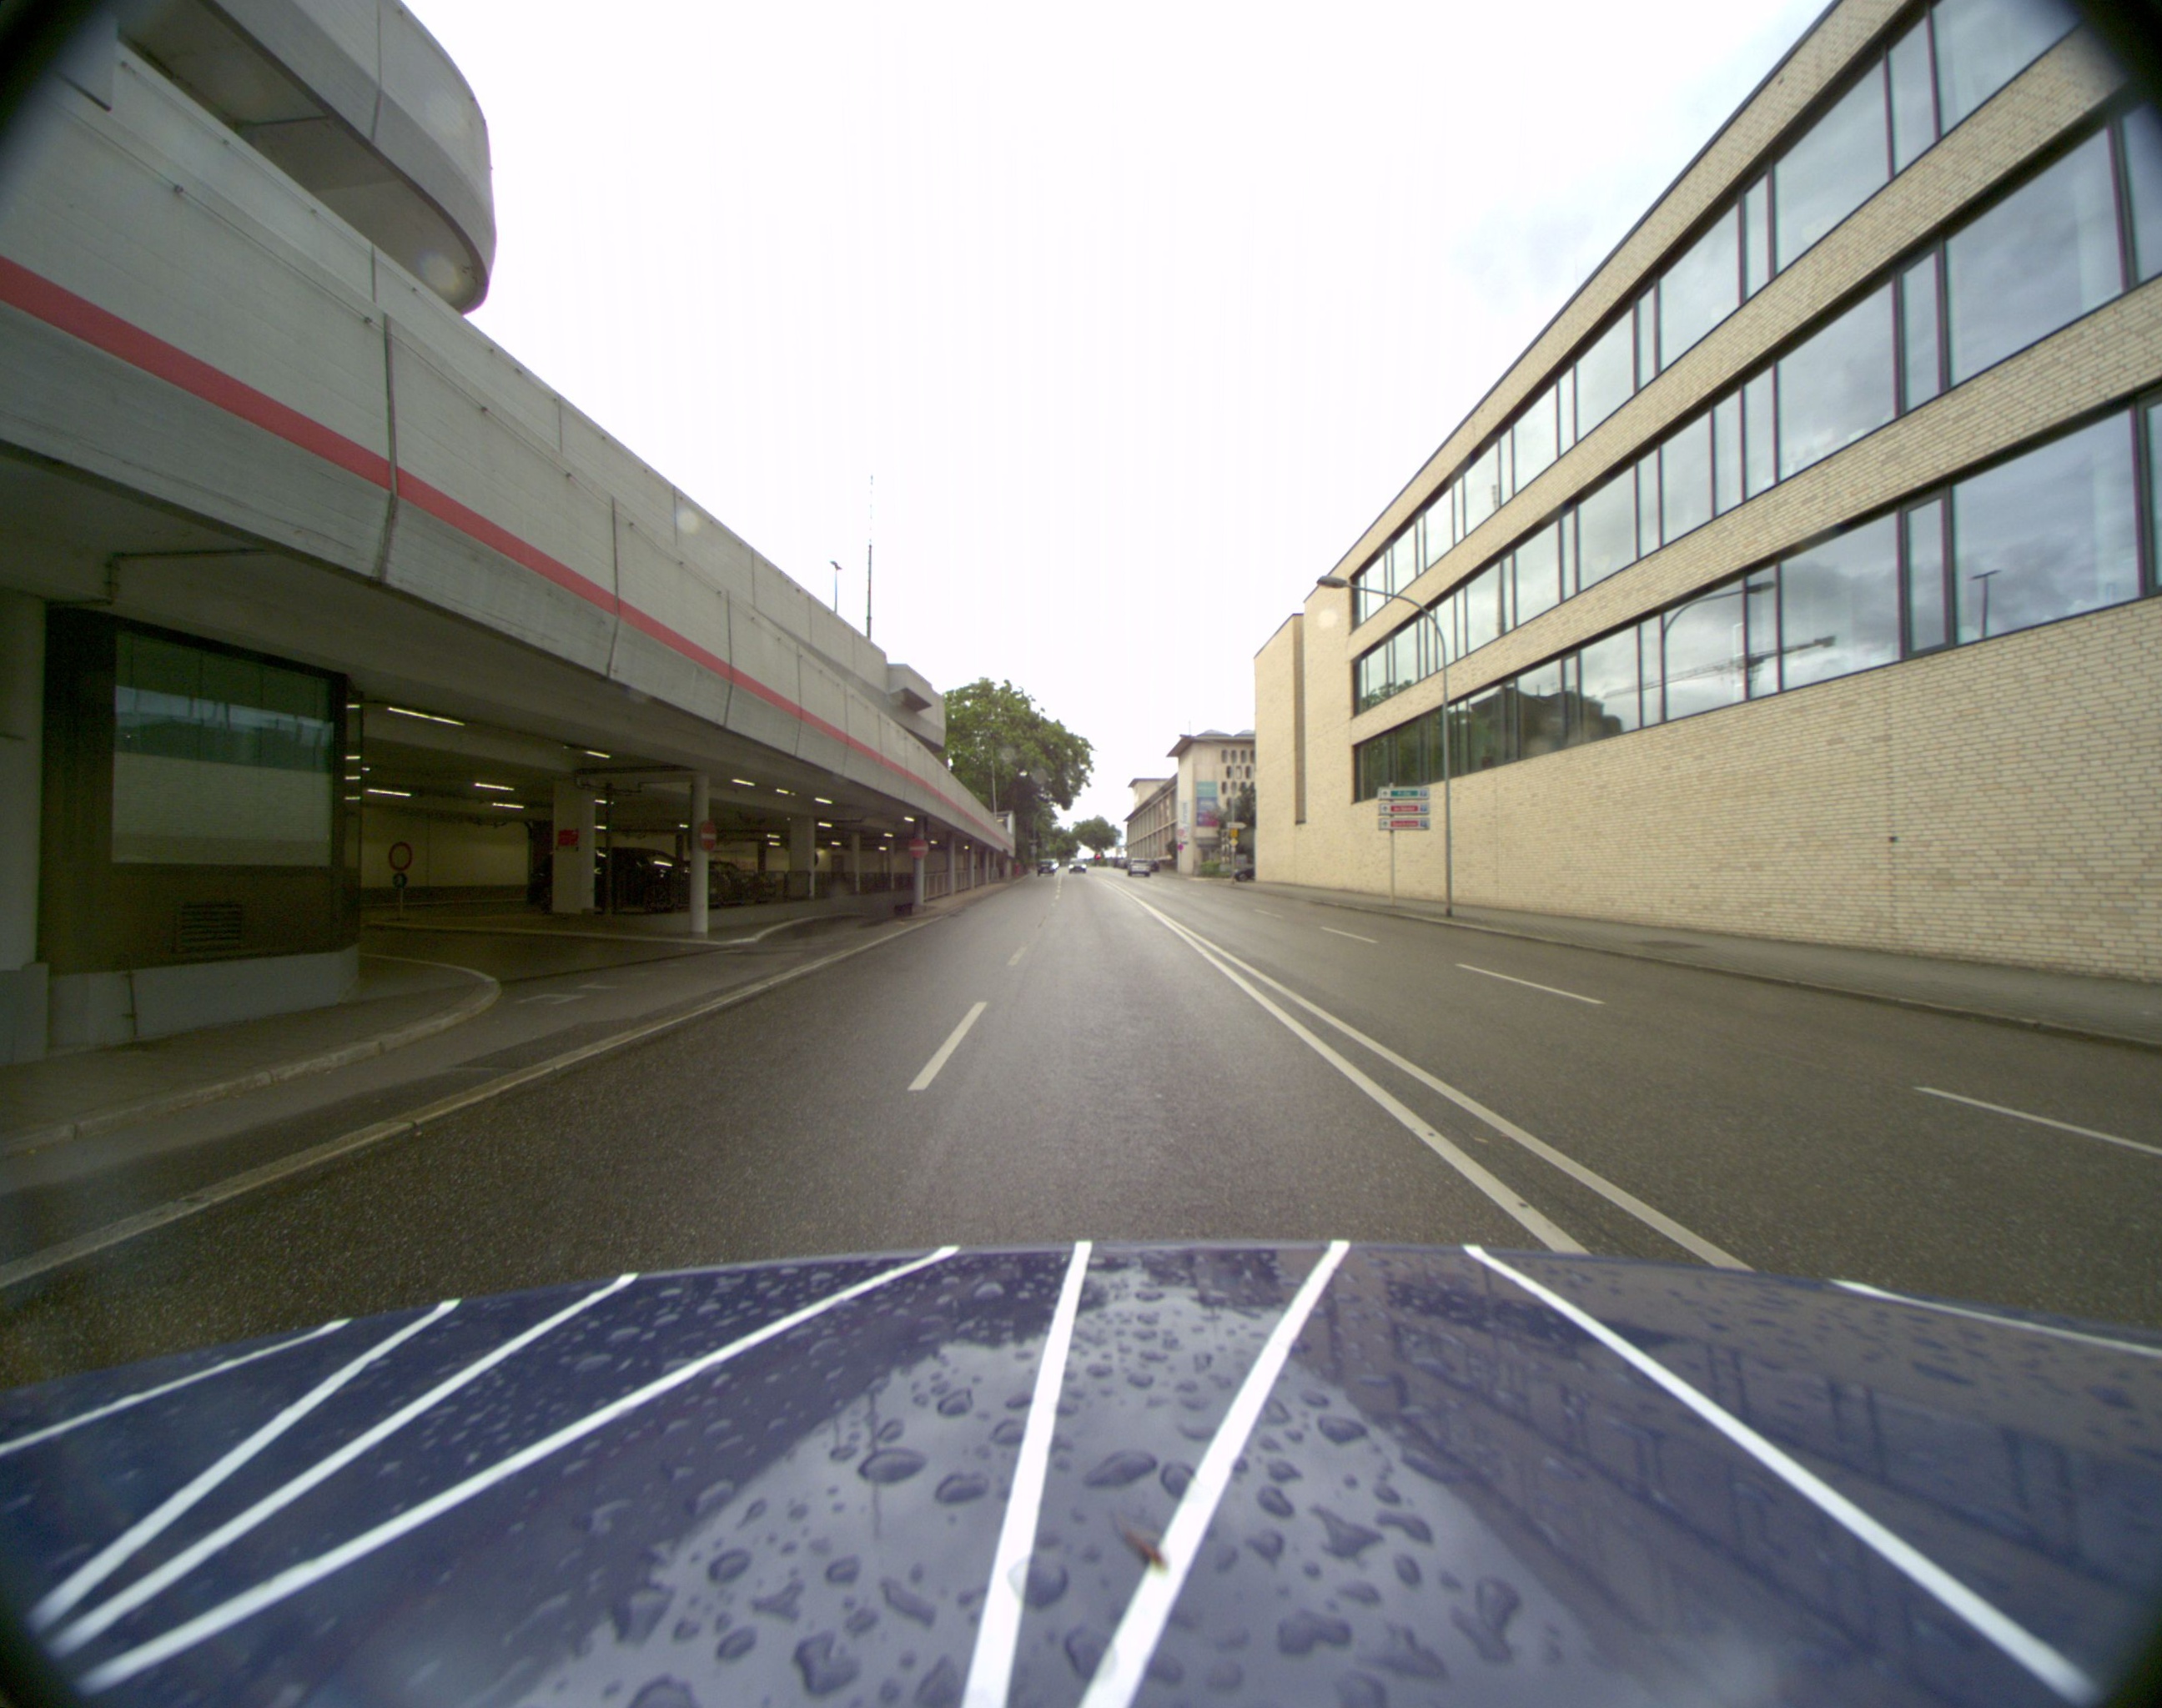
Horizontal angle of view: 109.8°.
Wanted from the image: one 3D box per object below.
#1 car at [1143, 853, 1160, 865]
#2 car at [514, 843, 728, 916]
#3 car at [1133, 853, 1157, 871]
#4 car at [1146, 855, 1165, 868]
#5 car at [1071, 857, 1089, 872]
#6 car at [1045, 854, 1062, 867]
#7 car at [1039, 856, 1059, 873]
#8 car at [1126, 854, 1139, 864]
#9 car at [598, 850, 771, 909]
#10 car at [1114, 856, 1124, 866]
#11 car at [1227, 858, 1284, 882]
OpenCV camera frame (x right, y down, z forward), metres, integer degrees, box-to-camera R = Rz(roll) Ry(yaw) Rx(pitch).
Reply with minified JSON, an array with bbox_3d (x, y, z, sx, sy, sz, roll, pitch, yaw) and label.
[{"bbox_3d":[8.914,0.664,96.672,1.800,1.516,4.056,-2,-1,1],"label":"car"},{"bbox_3d":[-11.388,0.693,18.977,4.251,1.650,2.003,-1,-4,10],"label":"car"},{"bbox_3d":[5.820,0.758,69.454,1.800,1.516,4.056,-2,-1,1],"label":"car"},{"bbox_3d":[8.916,0.897,91.149,1.800,1.516,4.056,-2,-1,1],"label":"car"},{"bbox_3d":[-0.093,1.136,81.588,1.852,1.516,3.990,-2,-1,1],"label":"car"},{"bbox_3d":[-3.310,0.788,91.812,1.915,1.443,4.036,-2,1,0],"label":"car"},{"bbox_3d":[-3.108,1.042,74.069,1.683,1.516,3.990,-2,-1,1],"label":"car"},{"bbox_3d":[8.280,0.856,121.546,1.800,1.516,4.056,-2,-1,1],"label":"car"},{"bbox_3d":[-11.919,0.817,23.001,4.251,1.650,2.003,-1,-4,10],"label":"car"},{"bbox_3d":[7.100,1.335,142.540,1.698,1.715,3.756,-2,1,1],"label":"car"},{"bbox_3d":[13.099,1.176,56.924,3.992,1.652,1.863,-1,0,17],"label":"car"}]
